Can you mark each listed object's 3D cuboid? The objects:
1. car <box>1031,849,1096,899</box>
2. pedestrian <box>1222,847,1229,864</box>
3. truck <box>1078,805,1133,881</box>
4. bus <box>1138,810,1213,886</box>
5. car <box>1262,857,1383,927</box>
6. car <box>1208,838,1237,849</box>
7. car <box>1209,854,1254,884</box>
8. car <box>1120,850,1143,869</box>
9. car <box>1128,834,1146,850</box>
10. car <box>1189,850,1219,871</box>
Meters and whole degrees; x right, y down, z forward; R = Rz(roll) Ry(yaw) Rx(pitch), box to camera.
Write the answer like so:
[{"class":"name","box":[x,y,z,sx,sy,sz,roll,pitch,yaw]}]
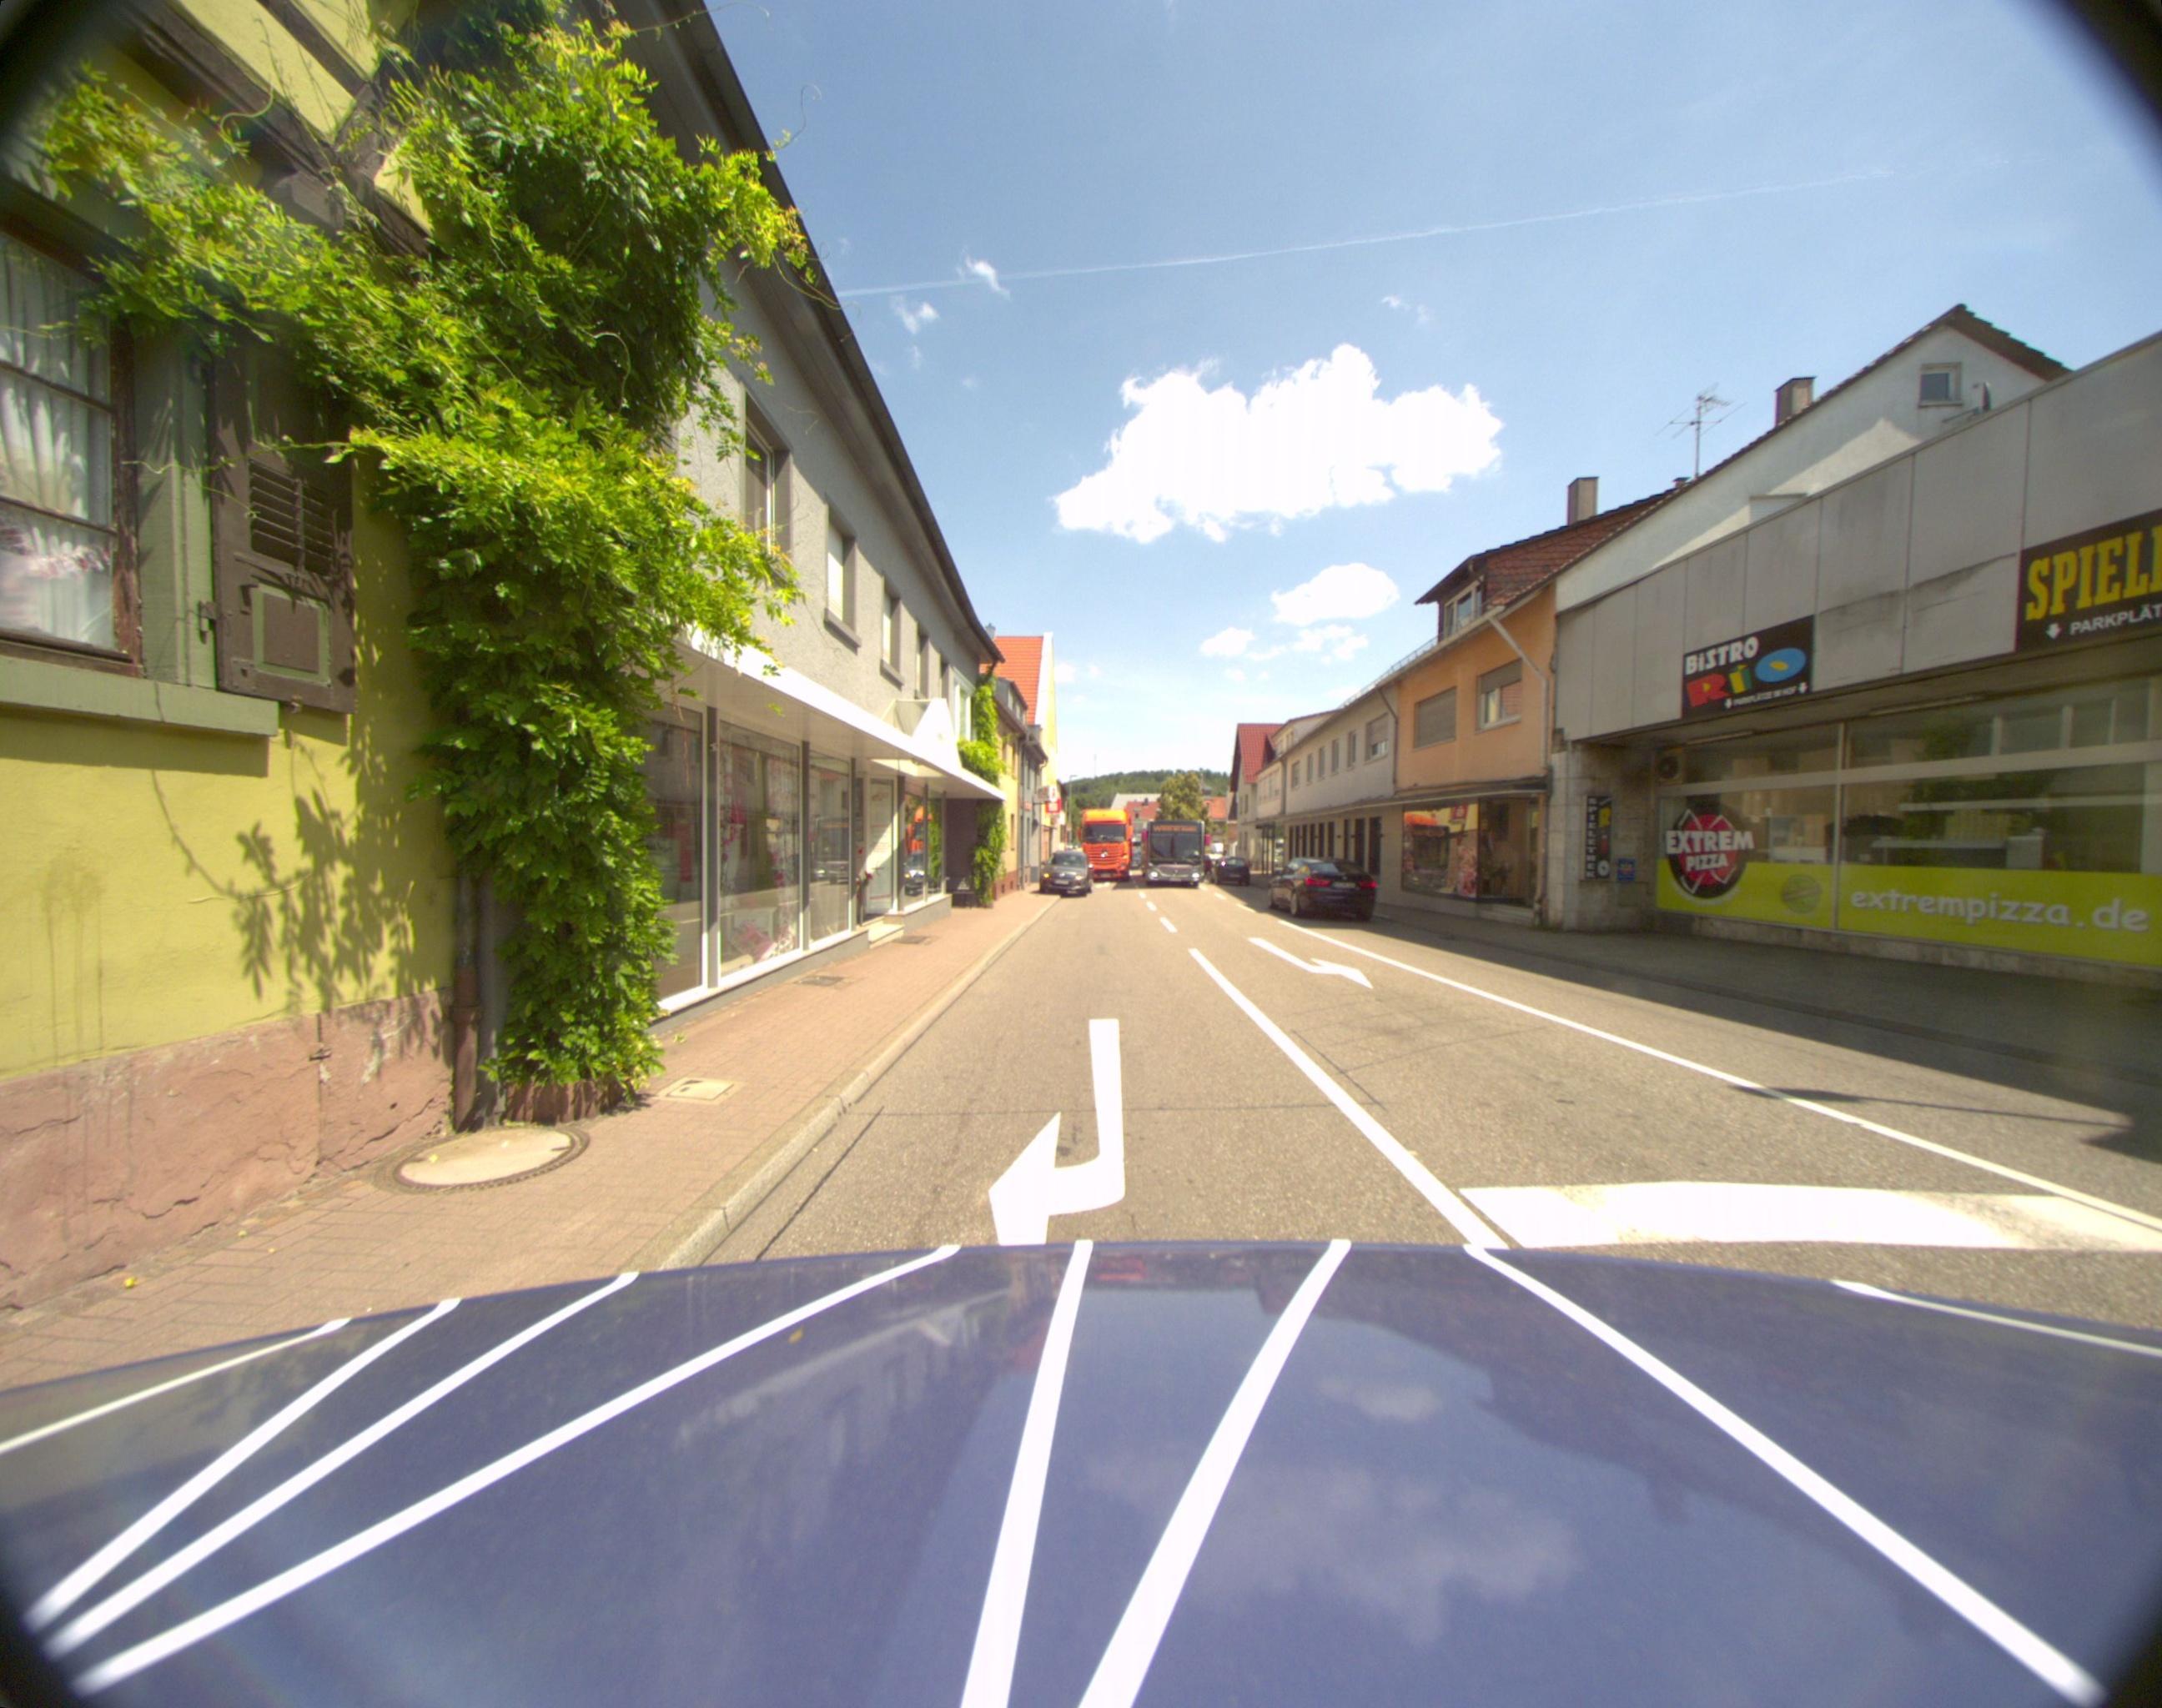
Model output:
[{"class":"car","box":[-0.590,0.697,29.349,1.997,1.699,4.102,3,1,5]},{"class":"pedestrian","box":[14.385,0.147,75.676,0.471,1.754,0.478,0,2,-18]},{"class":"truck","box":[1.641,-0.564,44.915,2.614,3.922,9.996,-2,0,5]},{"class":"bus","box":[4.723,-0.291,41.635,2.858,3.186,19.036,-1,0,3]},{"class":"car","box":[6.285,0.917,20.372,1.801,1.478,4.797,3,1,2]},{"class":"car","box":[23.758,-1.759,127.581,4.443,1.932,1.975,-1,1,-29]},{"class":"car","box":[7.796,0.768,39.656,1.721,1.414,3.821,2,0,2]},{"class":"car","box":[4.060,0.461,61.238,1.721,1.400,4.286,3,0,4]},{"class":"car","box":[7.447,-1.547,101.563,1.998,1.868,4.323,-2,-1,1]},{"class":"car","box":[8.979,0.486,55.761,1.721,1.400,4.286,3,0,4]}]
